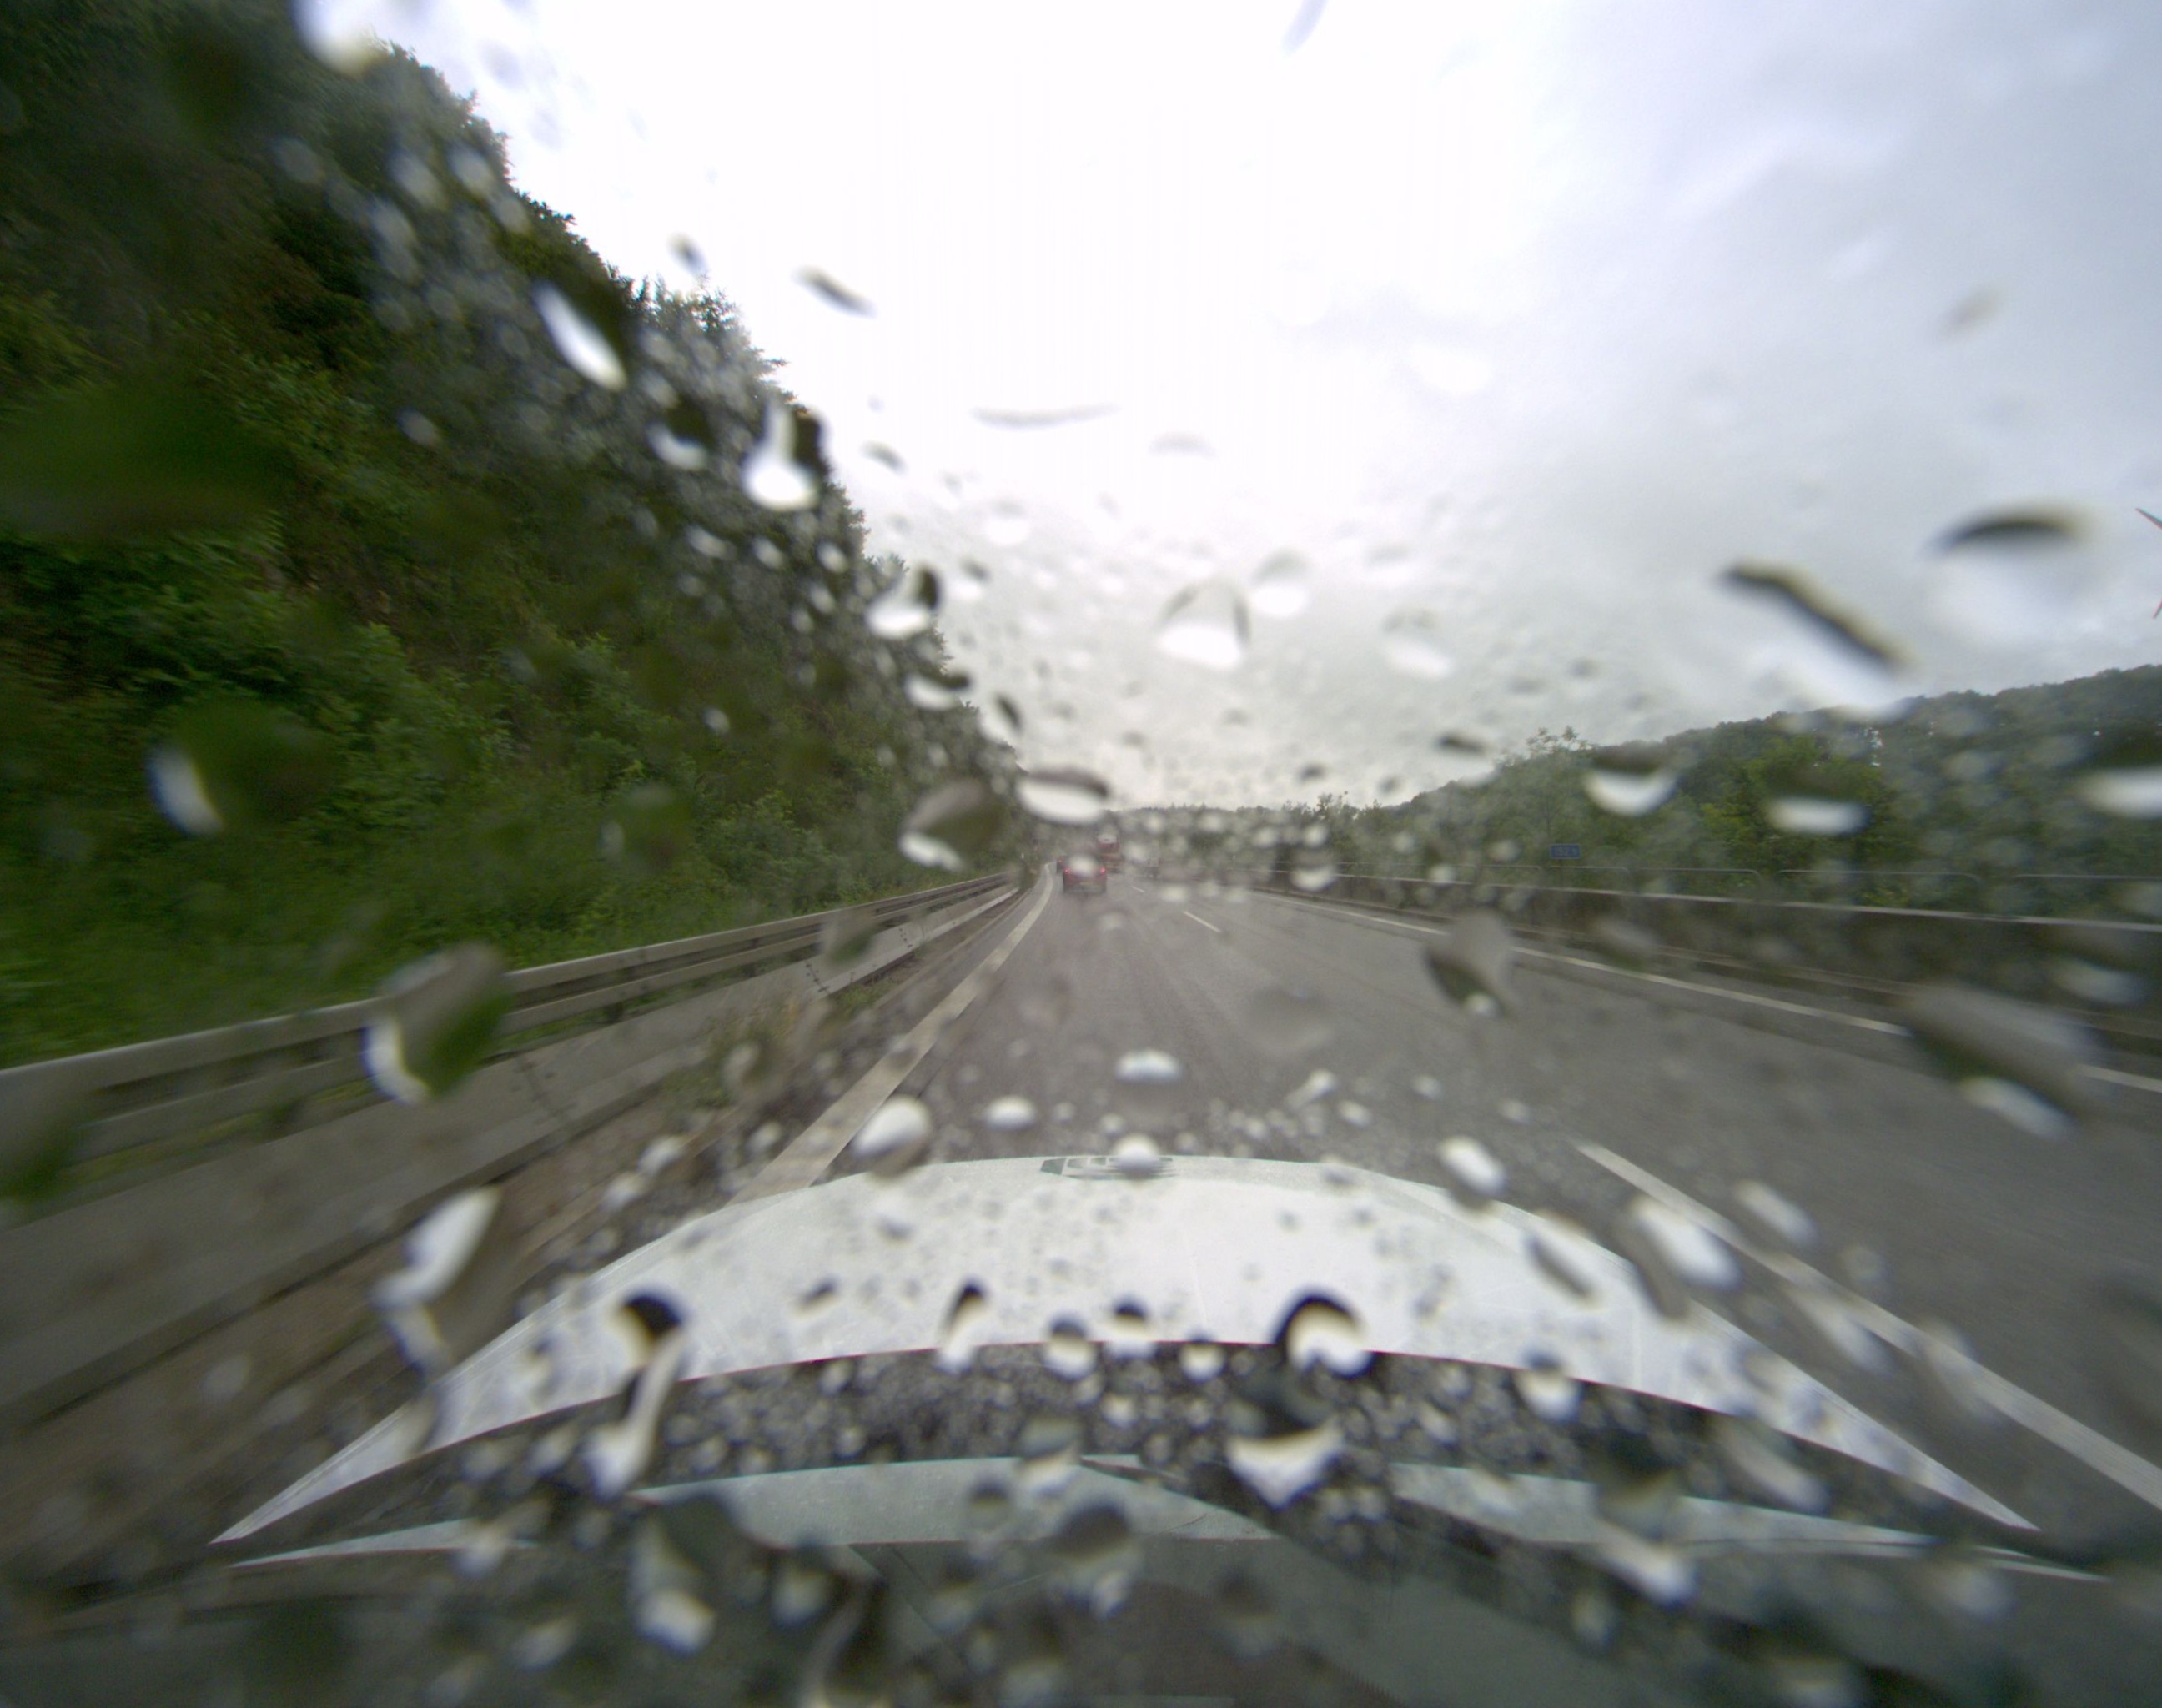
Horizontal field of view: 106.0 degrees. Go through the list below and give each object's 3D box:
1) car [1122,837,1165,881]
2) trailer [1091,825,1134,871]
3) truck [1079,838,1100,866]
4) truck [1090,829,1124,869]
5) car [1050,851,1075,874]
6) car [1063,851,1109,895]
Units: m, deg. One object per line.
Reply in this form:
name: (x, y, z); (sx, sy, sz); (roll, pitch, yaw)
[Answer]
car: (4.373, 0.346, 58.134); (2.200, 2.794, 7.377); (3, 0, -1)
trailer: (2.894, -0.529, 78.837); (3.210, 3.999, 13.514); (2, 0, -2)
truck: (1.383, -0.288, 137.916); (3.214, 4.682, 8.294); (-1, -1, -2)
truck: (2.716, -0.488, 85.863); (3.211, 3.978, 5.435); (2, -1, -2)
car: (-1.408, 0.648, 63.428); (1.817, 1.696, 3.999); (0, 0, 0)
car: (0.147, 0.743, 33.248); (1.753, 1.684, 3.998); (-1, -1, -1)
